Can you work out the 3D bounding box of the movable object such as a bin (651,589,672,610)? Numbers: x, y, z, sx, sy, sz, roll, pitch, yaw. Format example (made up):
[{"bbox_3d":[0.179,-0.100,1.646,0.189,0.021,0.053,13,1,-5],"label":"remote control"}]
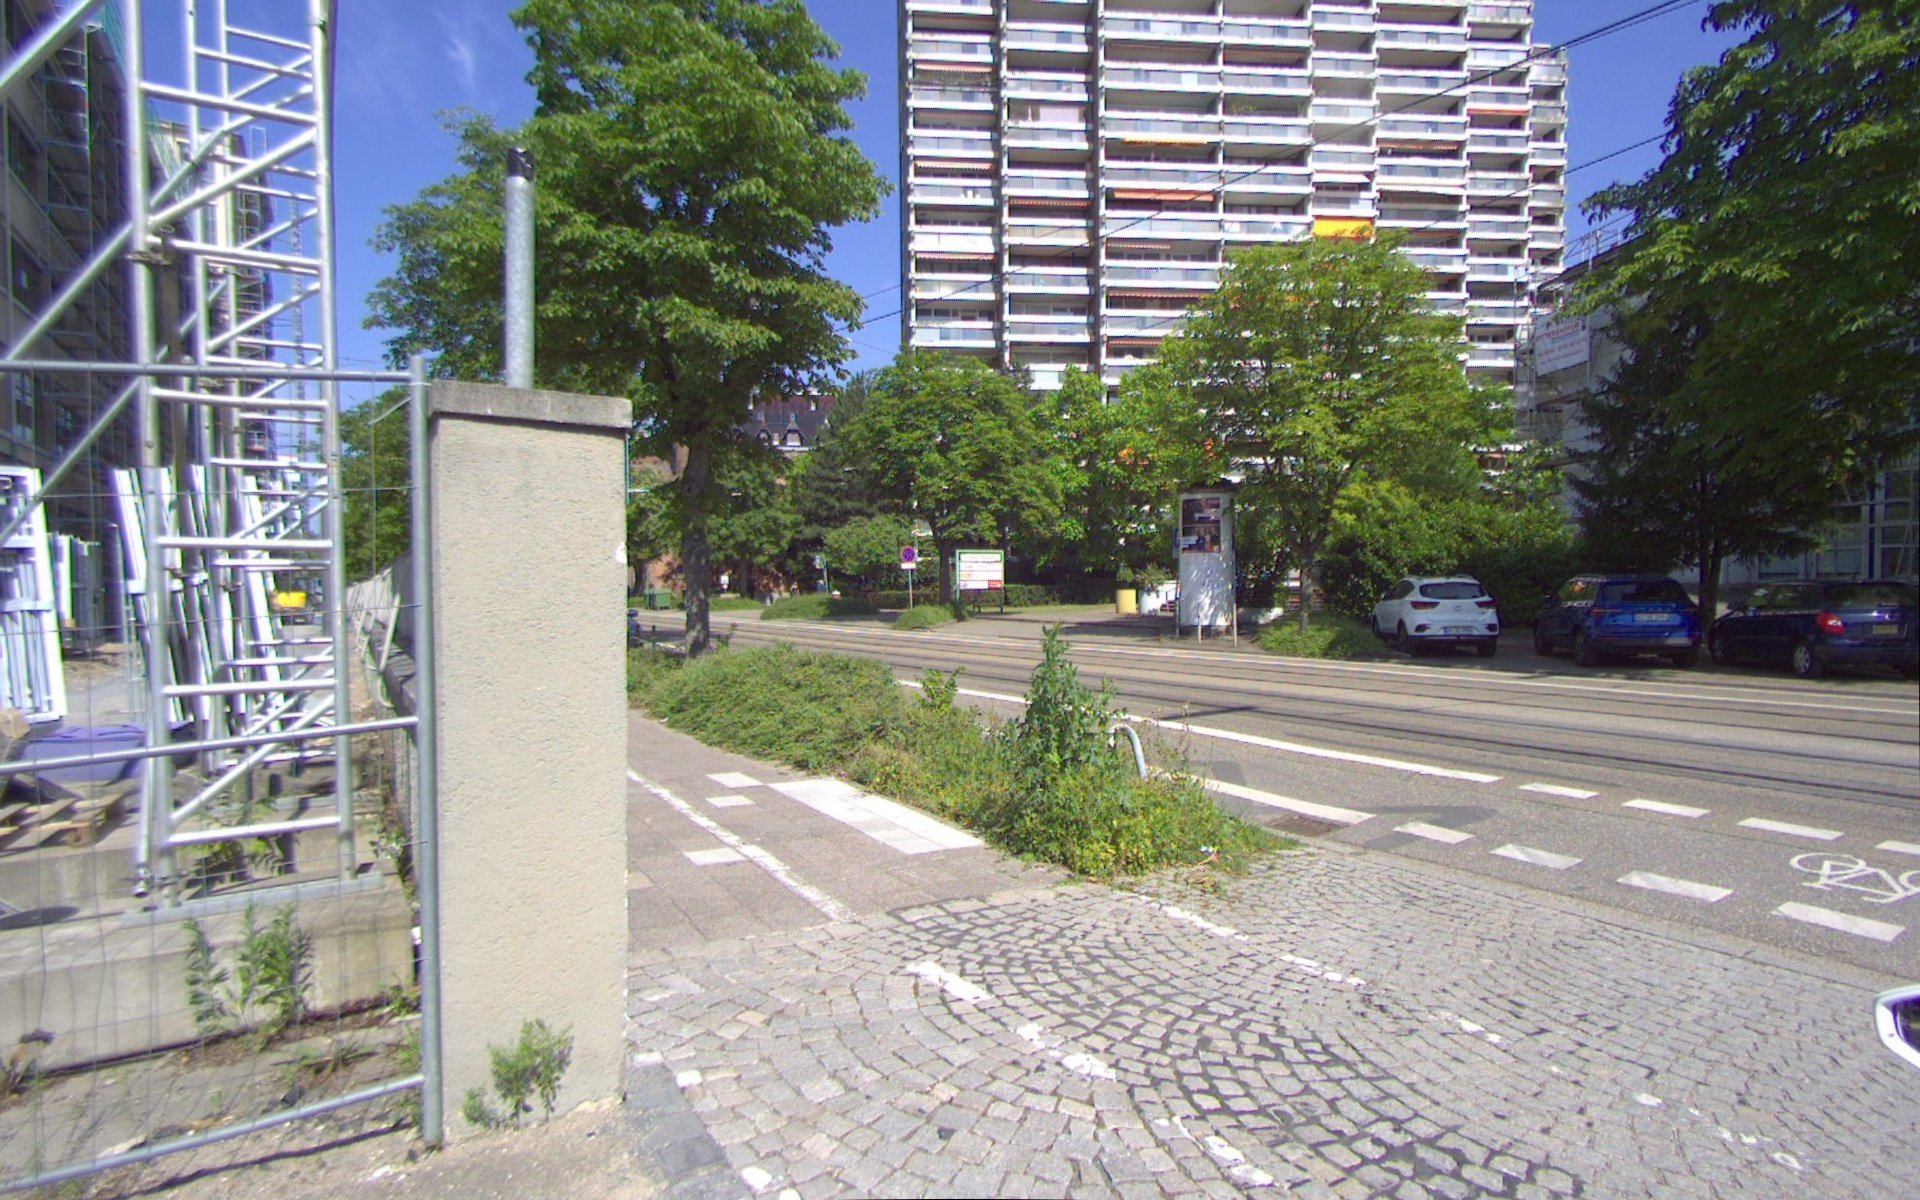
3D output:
[{"bbox_3d":[-21.078,-0.067,70.979,1.249,1.473,1.072,0,1,-27],"label":"movable object such as a bin"}]

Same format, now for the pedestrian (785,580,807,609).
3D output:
[{"bbox_3d":[-10.463,-0.324,63.959,1.047,1.822,1.255,1,1,-28],"label":"pedestrian"}]

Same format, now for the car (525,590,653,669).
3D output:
[{"bbox_3d":[-8.121,0.566,21.769,1.801,1.514,4.071,-1,1,-32],"label":"car"}]

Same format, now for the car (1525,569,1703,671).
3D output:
[{"bbox_3d":[12.080,0.293,18.834,1.745,1.644,3.945,-1,2,17],"label":"car"}]

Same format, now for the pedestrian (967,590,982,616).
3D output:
[{"bbox_3d":[0.632,0.126,44.598,0.525,1.170,0.700,-1,1,-10],"label":"pedestrian"}]

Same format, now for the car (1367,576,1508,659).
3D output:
[{"bbox_3d":[10.137,0.316,21.642,1.783,1.628,3.947,0,1,10],"label":"car"}]

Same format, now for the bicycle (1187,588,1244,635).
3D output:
[{"bbox_3d":[7.356,0.312,28.979,0.542,1.326,1.604,-1,1,-37],"label":"bicycle"}]

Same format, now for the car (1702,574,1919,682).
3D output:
[{"bbox_3d":[13.745,0.377,16.215,1.544,1.551,3.460,0,1,12],"label":"car"}]

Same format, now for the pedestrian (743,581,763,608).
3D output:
[{"bbox_3d":[-14.414,-0.389,69.911,1.047,1.822,1.255,1,1,-29],"label":"pedestrian"}]

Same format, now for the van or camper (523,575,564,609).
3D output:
[{"bbox_3d":[-33.507,-0.643,80.679,2.028,2.655,5.808,-1,1,-33],"label":"van or camper"}]

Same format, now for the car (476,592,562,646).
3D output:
[{"bbox_3d":[-13.231,0.511,30.030,1.801,1.473,3.965,-1,1,-32],"label":"car"}]
